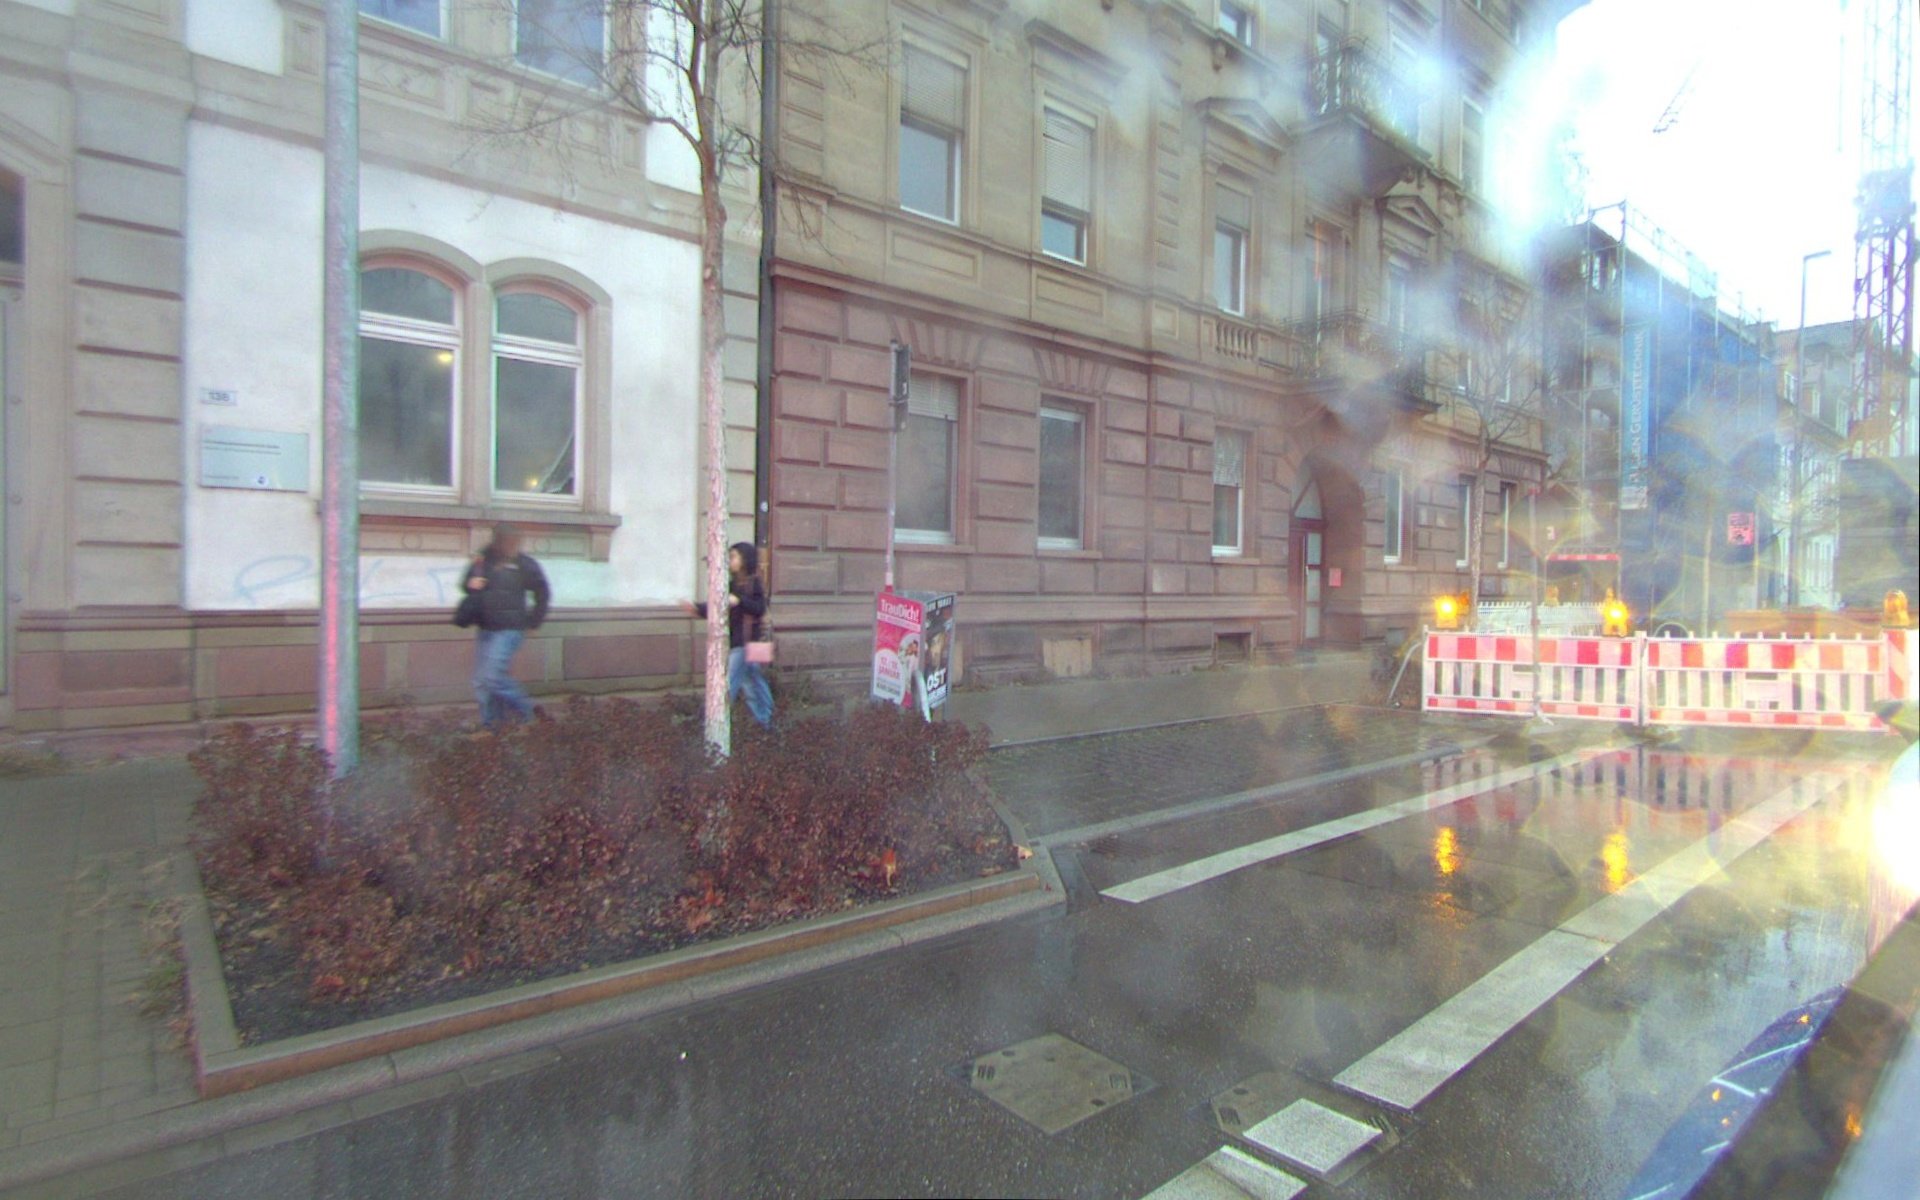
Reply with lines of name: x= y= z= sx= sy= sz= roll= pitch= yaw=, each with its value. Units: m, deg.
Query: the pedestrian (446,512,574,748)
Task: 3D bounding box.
pedestrian: x=-3.478 y=0.197 z=7.801 sx=0.694 sy=1.693 sz=0.870 roll=0 pitch=2 yaw=-38

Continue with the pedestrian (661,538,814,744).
pedestrian: x=-1.822 y=0.294 z=8.276 sx=0.913 sy=1.564 sz=0.870 roll=0 pitch=2 yaw=-40
